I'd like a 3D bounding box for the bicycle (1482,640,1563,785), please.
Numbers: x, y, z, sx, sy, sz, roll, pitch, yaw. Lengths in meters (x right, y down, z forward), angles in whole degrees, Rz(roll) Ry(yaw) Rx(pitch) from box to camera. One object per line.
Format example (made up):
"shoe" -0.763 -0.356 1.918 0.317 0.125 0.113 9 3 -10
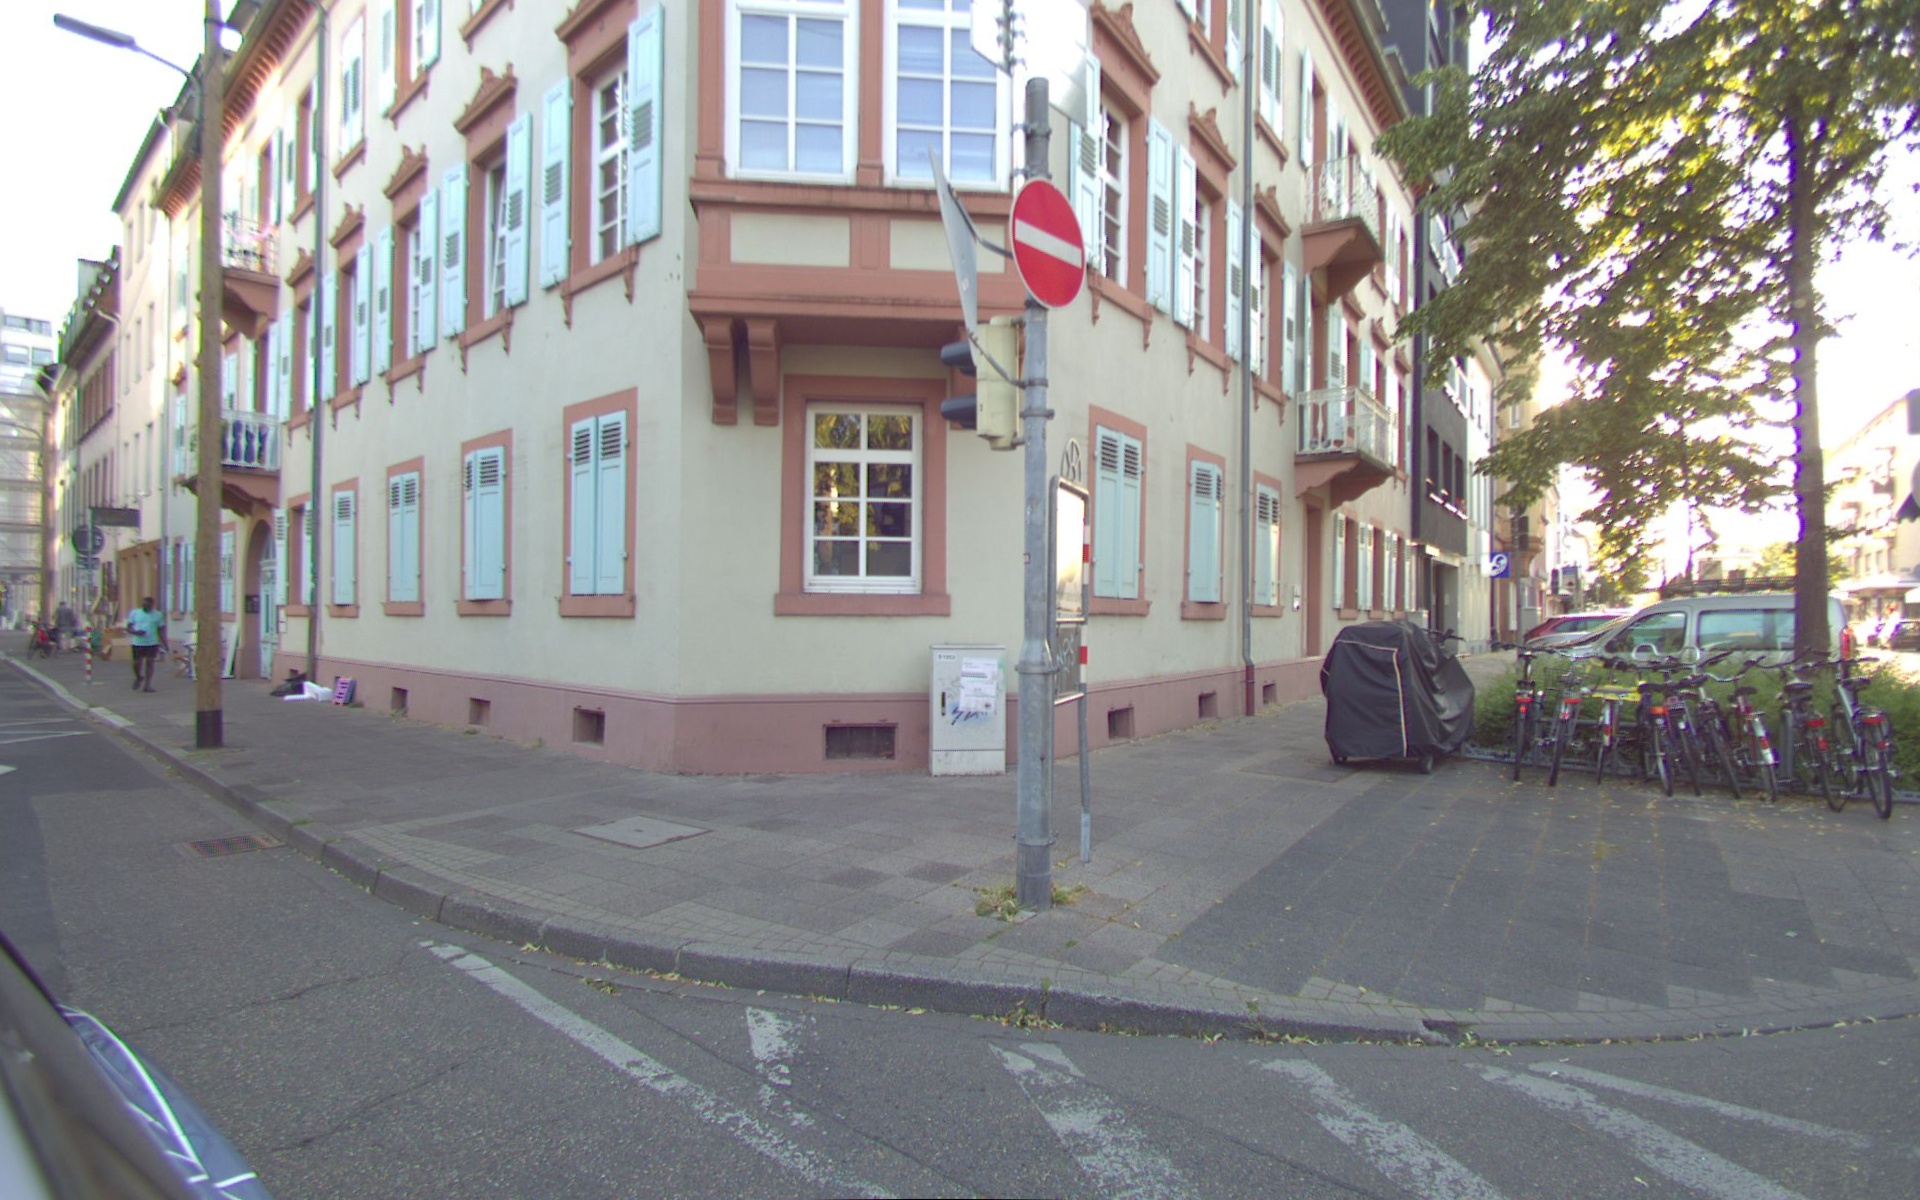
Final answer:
"bicycle" 4.844 0.911 8.680 0.396 1.090 1.577 2 0 36

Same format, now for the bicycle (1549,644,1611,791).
"bicycle" 5.192 0.927 8.447 0.322 1.090 1.577 0 -2 36

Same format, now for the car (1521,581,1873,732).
"car" 10.233 0.730 14.305 3.818 1.863 1.678 -1 -2 38

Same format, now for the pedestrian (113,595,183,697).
"pedestrian" -14.333 0.793 17.863 0.649 1.709 0.815 -1 1 42

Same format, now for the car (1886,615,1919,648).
"car" 46.299 1.521 48.999 1.632 1.565 2.666 -1 -2 31

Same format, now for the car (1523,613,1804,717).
"car" 11.496 0.977 16.669 3.658 1.526 1.627 -1 -1 40

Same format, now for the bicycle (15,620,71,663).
"bicycle" -26.160 1.171 28.908 0.649 1.179 1.613 0 -1 -21

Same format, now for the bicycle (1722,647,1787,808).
"bicycle" 6.221 0.944 7.953 0.319 1.090 1.577 2 0 36

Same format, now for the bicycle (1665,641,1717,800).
"bicycle" 5.888 0.912 8.156 0.312 1.157 1.592 0 -2 36

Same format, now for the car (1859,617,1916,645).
"car" 50.001 1.651 54.626 1.634 1.435 3.715 -1 -2 33

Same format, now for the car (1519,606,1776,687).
"car" 13.942 0.900 20.827 4.206 1.528 1.743 0 -1 31

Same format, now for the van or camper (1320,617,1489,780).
"van or camper" 4.000 0.802 9.026 0.943 1.269 1.821 1 -1 38

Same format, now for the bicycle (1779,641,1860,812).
"bicycle" 6.591 0.911 7.795 0.331 1.149 1.577 2 0 36

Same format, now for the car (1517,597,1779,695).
"car" 12.576 0.782 18.656 3.832 1.597 1.719 1 -1 37

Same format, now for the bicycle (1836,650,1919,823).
"bicycle" 6.890 0.953 7.530 0.396 1.116 1.691 2 0 36

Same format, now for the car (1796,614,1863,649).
"car" 44.486 1.583 51.870 1.996 1.667 4.620 2 0 34

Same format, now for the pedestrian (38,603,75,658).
"pedestrian" -28.615 0.960 32.049 0.649 1.709 0.815 -1 -1 42

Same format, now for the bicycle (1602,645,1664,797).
"bicycle" 5.510 0.933 8.261 0.341 1.090 1.577 -1 -2 36
